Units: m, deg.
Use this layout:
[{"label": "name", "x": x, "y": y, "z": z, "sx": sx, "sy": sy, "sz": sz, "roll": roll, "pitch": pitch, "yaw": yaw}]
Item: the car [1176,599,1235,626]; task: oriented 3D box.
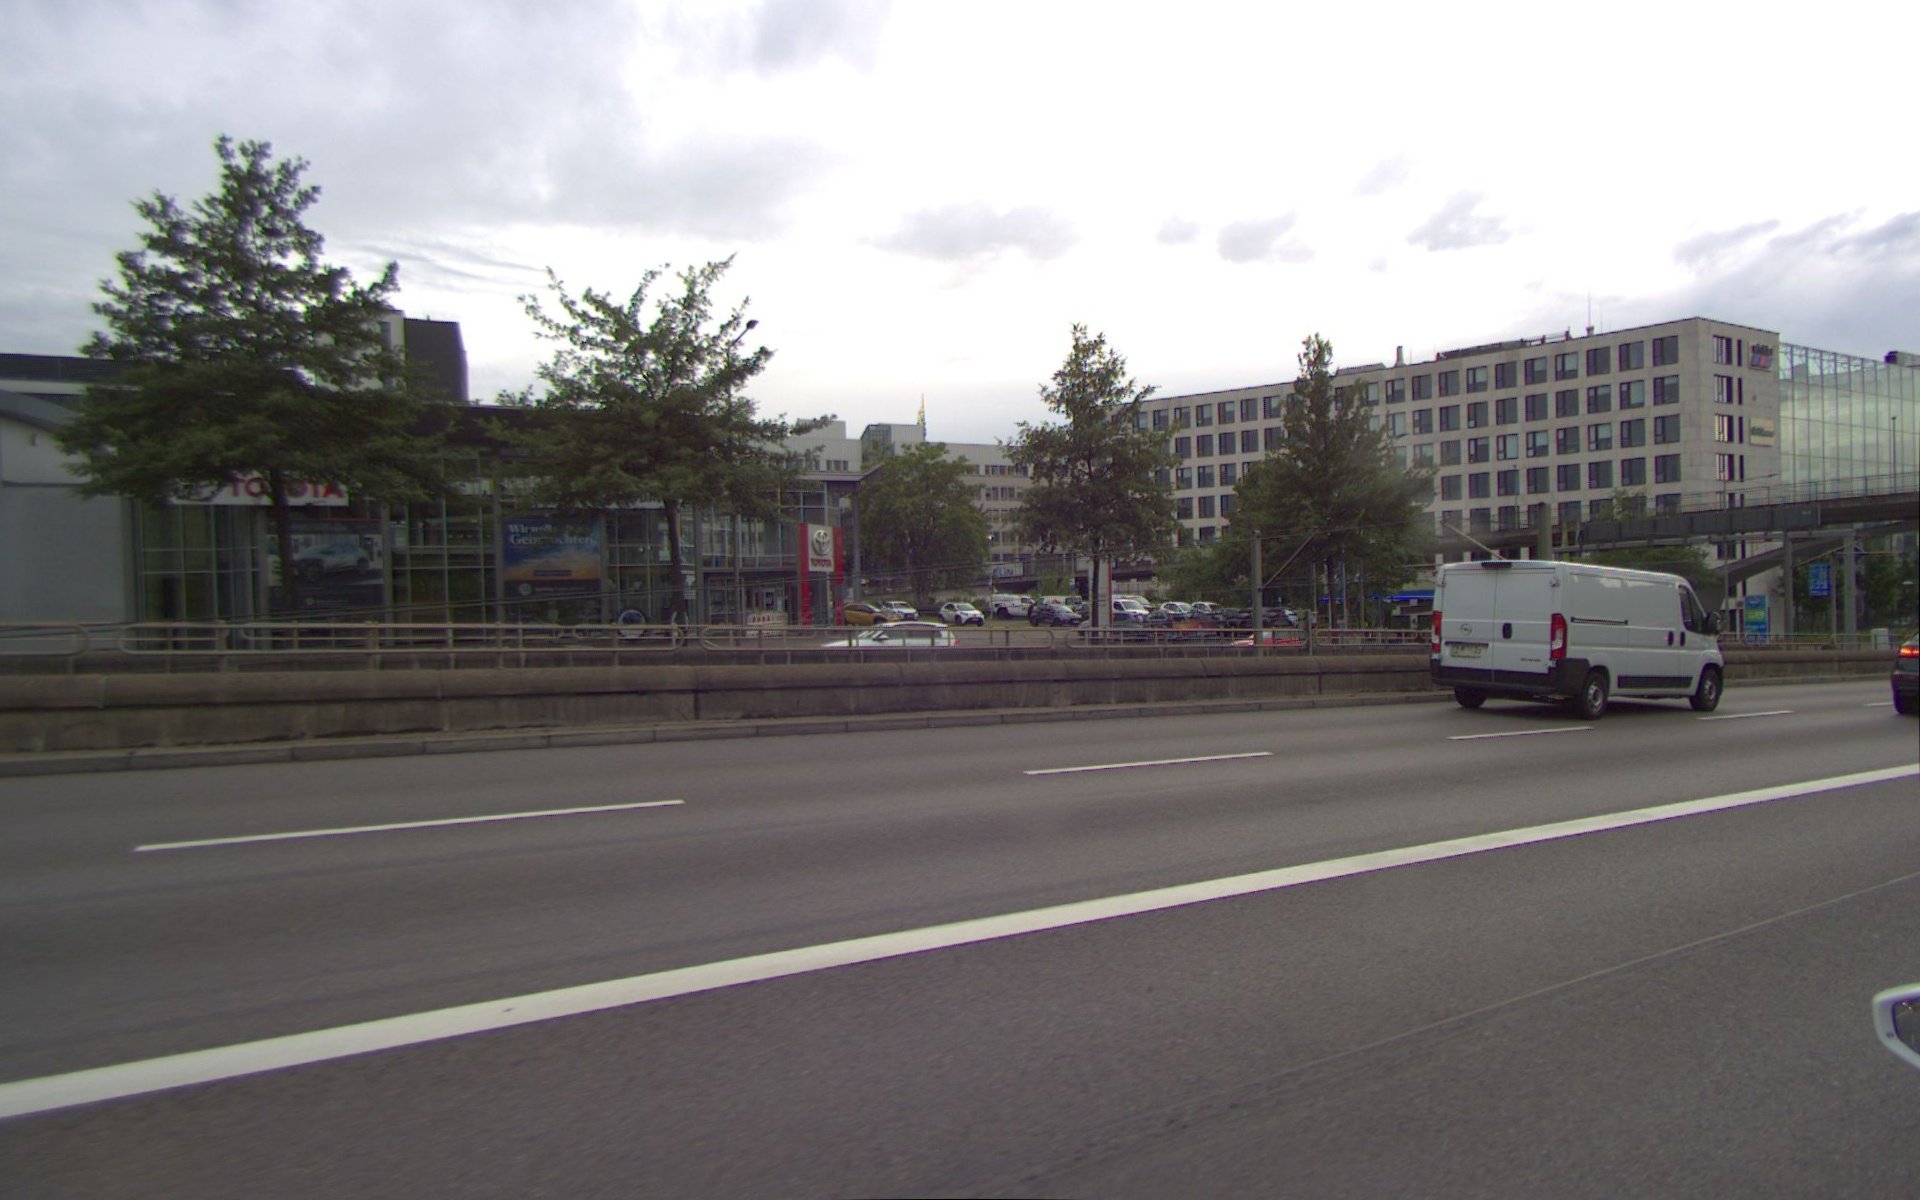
[{"label": "car", "x": 16.997, "y": 0.817, "z": 69.743, "sx": 1.973, "sy": 1.673, "sz": 3.975, "roll": -2, "pitch": 2, "yaw": -25}]

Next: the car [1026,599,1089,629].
[{"label": "car", "x": 6.090, "y": 0.820, "z": 62.943, "sx": 1.977, "sy": 1.673, "sz": 3.965, "roll": -2, "pitch": 2, "yaw": -32}]

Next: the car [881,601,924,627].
[{"label": "car", "x": -4.335, "y": 1.023, "z": 74.649, "sx": 1.971, "sy": 1.673, "sz": 3.977, "roll": -2, "pitch": 2, "yaw": -23}]

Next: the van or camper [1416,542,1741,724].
[{"label": "van or camper", "x": 9.934, "y": 0.503, "z": 16.006, "sx": 5.468, "sy": 2.471, "sz": 2.192, "roll": 1, "pitch": -1, "yaw": -31}]

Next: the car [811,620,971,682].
[{"label": "car", "x": -1.904, "y": 1.403, "z": 27.787, "sx": 3.948, "sy": 1.606, "sz": 1.987, "roll": 2, "pitch": -2, "yaw": -26}]

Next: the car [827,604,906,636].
[{"label": "car", "x": -5.221, "y": 1.083, "z": 56.085, "sx": 3.919, "sy": 1.673, "sz": 2.000, "roll": 0, "pitch": 2, "yaw": 16}]

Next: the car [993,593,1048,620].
[{"label": "car", "x": 4.811, "y": 0.500, "z": 79.678, "sx": 3.922, "sy": 2.076, "sz": 1.999, "roll": 0, "pitch": 2, "yaw": 22}]

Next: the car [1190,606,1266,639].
[{"label": "car", "x": 15.186, "y": 1.234, "z": 57.092, "sx": 1.975, "sy": 1.673, "sz": 3.971, "roll": 1, "pitch": 1, "yaw": -28}]

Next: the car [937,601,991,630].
[{"label": "car", "x": 0.211, "y": 0.969, "z": 64.736, "sx": 1.973, "sy": 1.673, "sz": 3.975, "roll": -2, "pitch": 2, "yaw": -25}]

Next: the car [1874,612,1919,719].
[{"label": "car", "x": 16.918, "y": 1.060, "z": 16.471, "sx": 4.698, "sy": 1.639, "sz": 1.741, "roll": 2, "pitch": -1, "yaw": -33}]

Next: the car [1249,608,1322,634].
[{"label": "car", "x": 19.264, "y": 1.251, "z": 59.584, "sx": 1.826, "sy": 1.372, "sz": 3.971, "roll": 1, "pitch": 1, "yaw": -28}]

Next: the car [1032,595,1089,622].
[{"label": "car", "x": 6.926, "y": 0.535, "z": 69.434, "sx": 1.977, "sy": 1.673, "sz": 3.965, "roll": -2, "pitch": 2, "yaw": -32}]

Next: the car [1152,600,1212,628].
[{"label": "car", "x": 15.019, "y": 0.943, "z": 68.126, "sx": 1.973, "sy": 1.673, "sz": 3.975, "roll": -2, "pitch": 2, "yaw": -25}]

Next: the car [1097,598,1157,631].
[{"label": "car", "x": 10.730, "y": 0.897, "z": 64.896, "sx": 1.973, "sy": 1.901, "sz": 3.975, "roll": -2, "pitch": 2, "yaw": -25}]

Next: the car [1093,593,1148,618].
[{"label": "car", "x": 11.684, "y": 0.382, "z": 73.372, "sx": 1.801, "sy": 1.673, "sz": 3.963, "roll": -2, "pitch": 2, "yaw": -33}]

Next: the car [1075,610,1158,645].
[{"label": "car", "x": 8.350, "y": 1.429, "z": 53.684, "sx": 3.929, "sy": 1.673, "sz": 1.996, "roll": 2, "pitch": 1, "yaw": 30}]

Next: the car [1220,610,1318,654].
[{"label": "car", "x": 13.637, "y": 1.367, "z": 44.314, "sx": 4.057, "sy": 1.801, "sz": 1.982, "roll": 1, "pitch": 1, "yaw": -32}]
